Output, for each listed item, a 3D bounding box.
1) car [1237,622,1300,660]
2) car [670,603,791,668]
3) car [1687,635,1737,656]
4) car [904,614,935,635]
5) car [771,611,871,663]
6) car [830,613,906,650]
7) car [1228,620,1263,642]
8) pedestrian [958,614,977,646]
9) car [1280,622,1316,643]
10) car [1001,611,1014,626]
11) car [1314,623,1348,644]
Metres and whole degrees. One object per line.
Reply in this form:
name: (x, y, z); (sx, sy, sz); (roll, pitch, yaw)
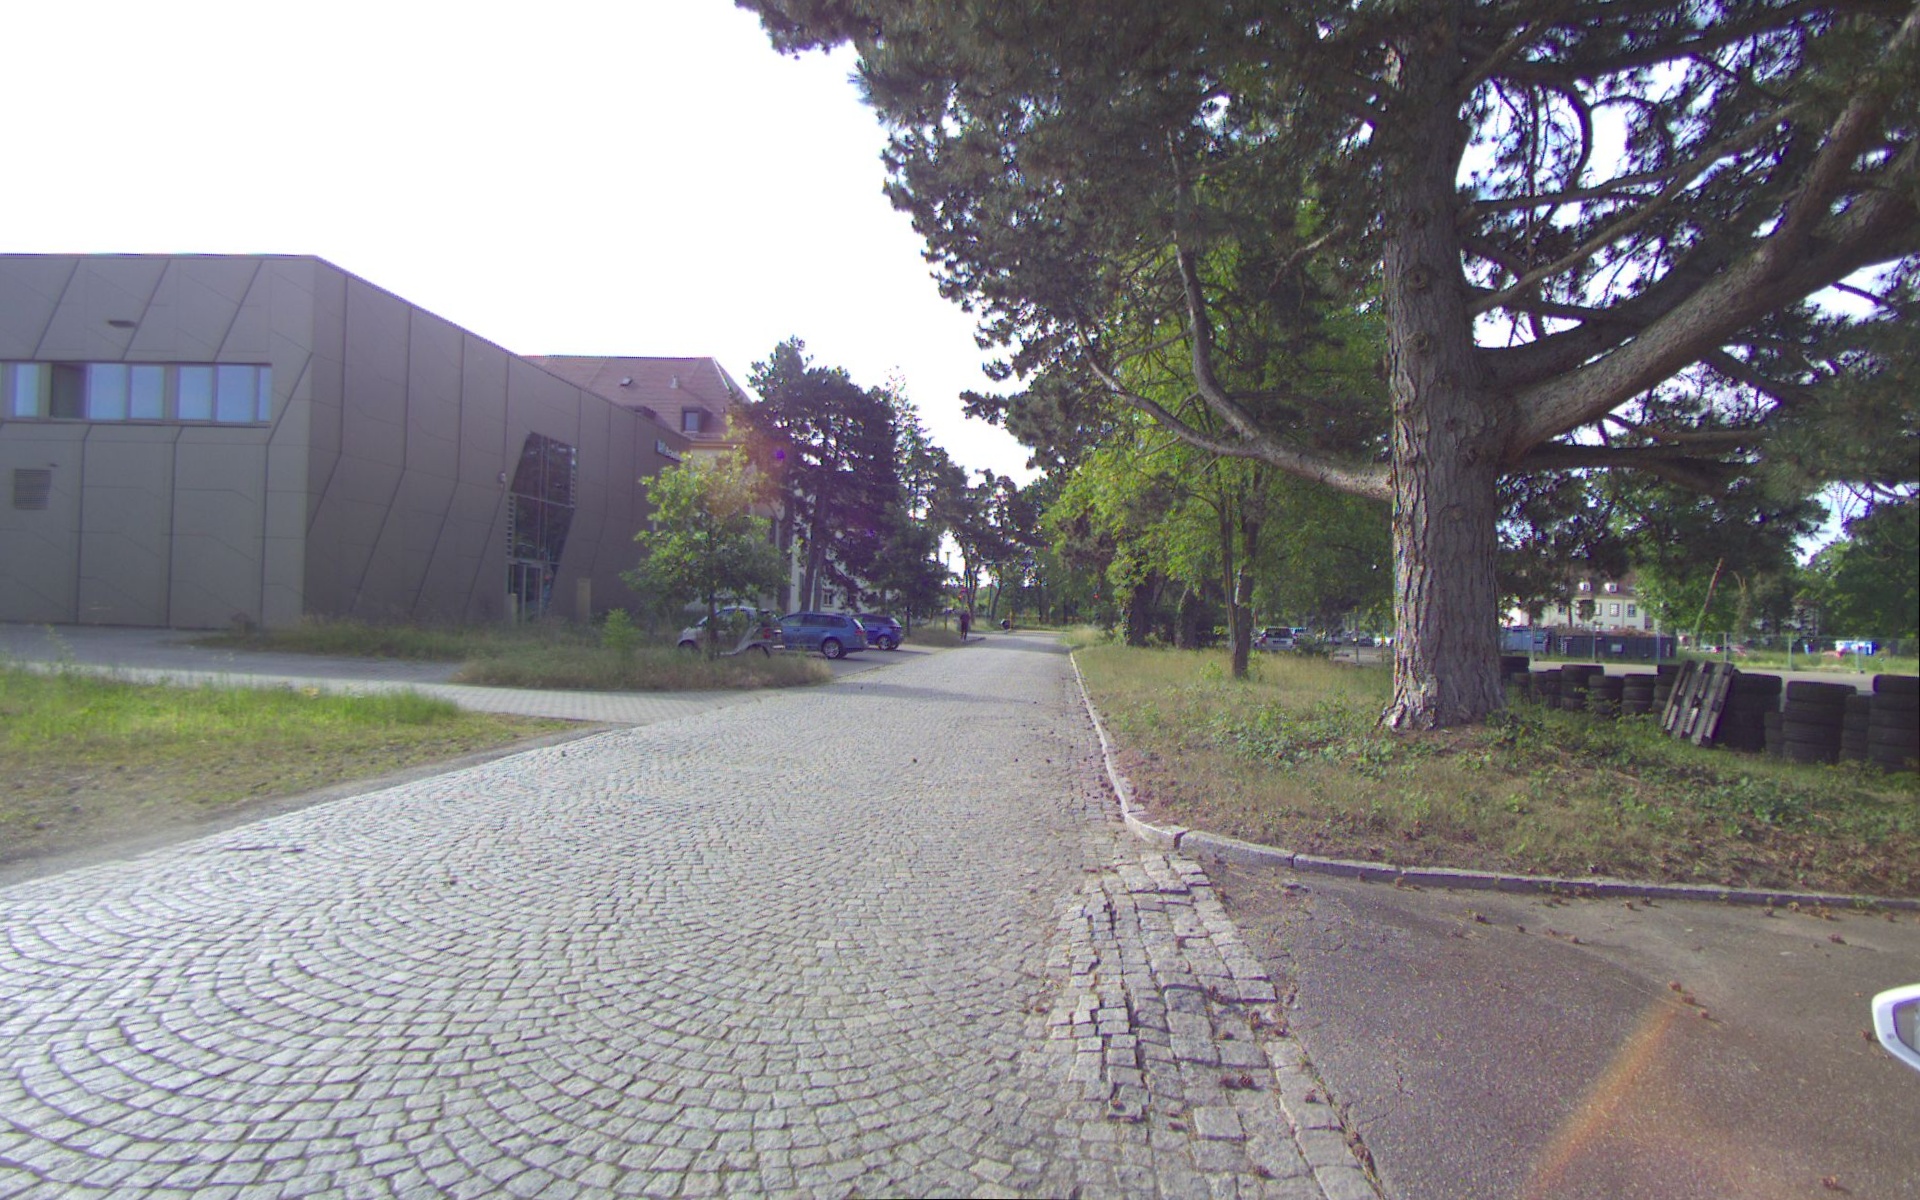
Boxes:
car: (14.122, 1.846, 46.193); (1.854, 1.561, 4.002); (2, -1, 4)
car: (-5.997, 0.904, 26.372); (2.713, 1.570, 1.426); (2, -1, 10)
car: (67.494, 4.078, 90.206); (1.959, 1.773, 4.003); (2, -1, 11)
car: (-3.310, 2.017, 82.197); (1.959, 1.639, 4.002); (2, -1, 6)
car: (-4.603, 1.210, 33.595); (3.033, 1.476, 1.492); (4, -1, 1)
car: (-3.902, 1.346, 42.879); (3.033, 1.469, 1.492); (2, -1, 0)
car: (22.960, 2.448, 80.885); (1.959, 1.639, 4.002); (2, -1, 6)
pedestrian: (0.422, 1.780, 59.923); (0.941, 1.868, 0.954); (2, -1, -8)
car: (27.733, 2.657, 82.470); (1.959, 1.639, 4.002); (2, -1, 6)
car: (7.093, 2.752, 148.648); (1.669, 2.040, 4.002); (2, -1, 6)
car: (30.395, 2.731, 82.455); (1.790, 1.639, 4.003); (2, -1, 8)
